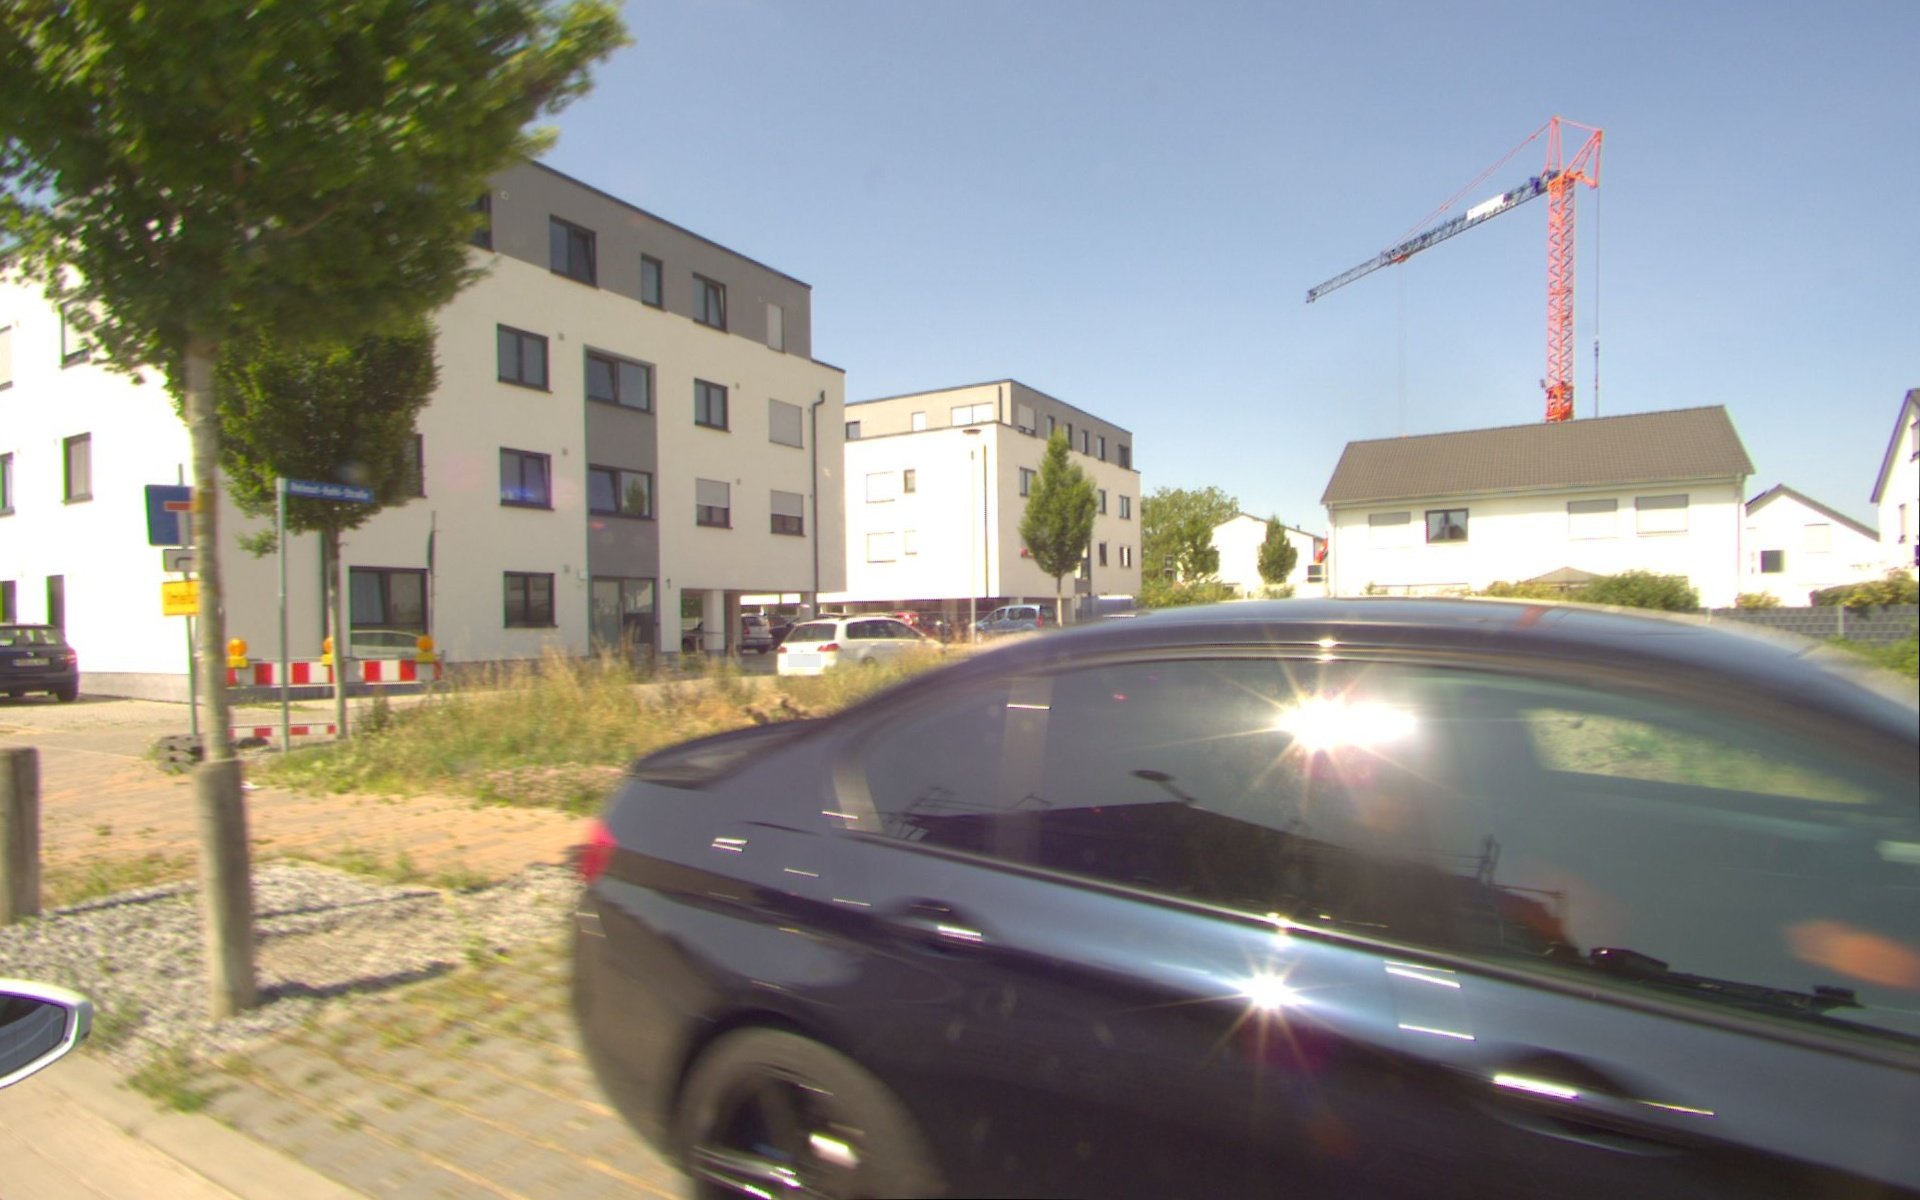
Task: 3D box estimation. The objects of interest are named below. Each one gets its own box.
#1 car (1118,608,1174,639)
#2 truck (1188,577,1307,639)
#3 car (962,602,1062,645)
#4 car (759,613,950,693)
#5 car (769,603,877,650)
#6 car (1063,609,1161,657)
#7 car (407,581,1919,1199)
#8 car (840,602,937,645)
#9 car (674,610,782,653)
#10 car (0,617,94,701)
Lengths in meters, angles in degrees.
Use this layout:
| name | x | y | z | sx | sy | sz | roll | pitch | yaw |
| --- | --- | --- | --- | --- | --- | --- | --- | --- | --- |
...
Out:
| name | x | y | z | sx | sy | sz | roll | pitch | yaw |
| --- | --- | --- | --- | --- | --- | --- | --- | --- | --- |
| car | 10.737 | 1.339 | 57.662 | 1.812 | 1.687 | 3.896 | -2 | -1 | 33 |
| truck | 16.809 | 0.445 | 58.476 | 6.863 | 3.434 | 2.291 | -1 | -2 | -27 |
| car | 2.314 | 1.069 | 45.180 | 4.116 | 1.833 | 1.871 | -2 | -1 | 35 |
| car | -2.069 | 1.035 | 20.813 | 1.855 | 1.454 | 4.152 | -2 | -1 | 30 |
| car | -5.641 | 1.093 | 41.143 | 4.112 | 1.833 | 1.873 | -2 | -1 | 31 |
| car | 5.179 | 1.076 | 33.706 | 1.855 | 1.497 | 4.152 | -2 | -1 | 30 |
| car | 1.239 | 0.716 | 1.923 | 5.068 | 1.489 | 1.913 | 0 | 1 | 34 |
| car | -3.314 | 1.095 | 46.199 | 4.112 | 1.833 | 1.873 | -2 | -1 | 31 |
| car | -8.668 | 1.179 | 37.347 | 3.626 | 1.522 | 1.873 | -2 | -1 | 31 |
| car | -18.614 | 1.079 | 19.269 | 4.054 | 1.488 | 1.676 | 0 | -1 | 30 |
